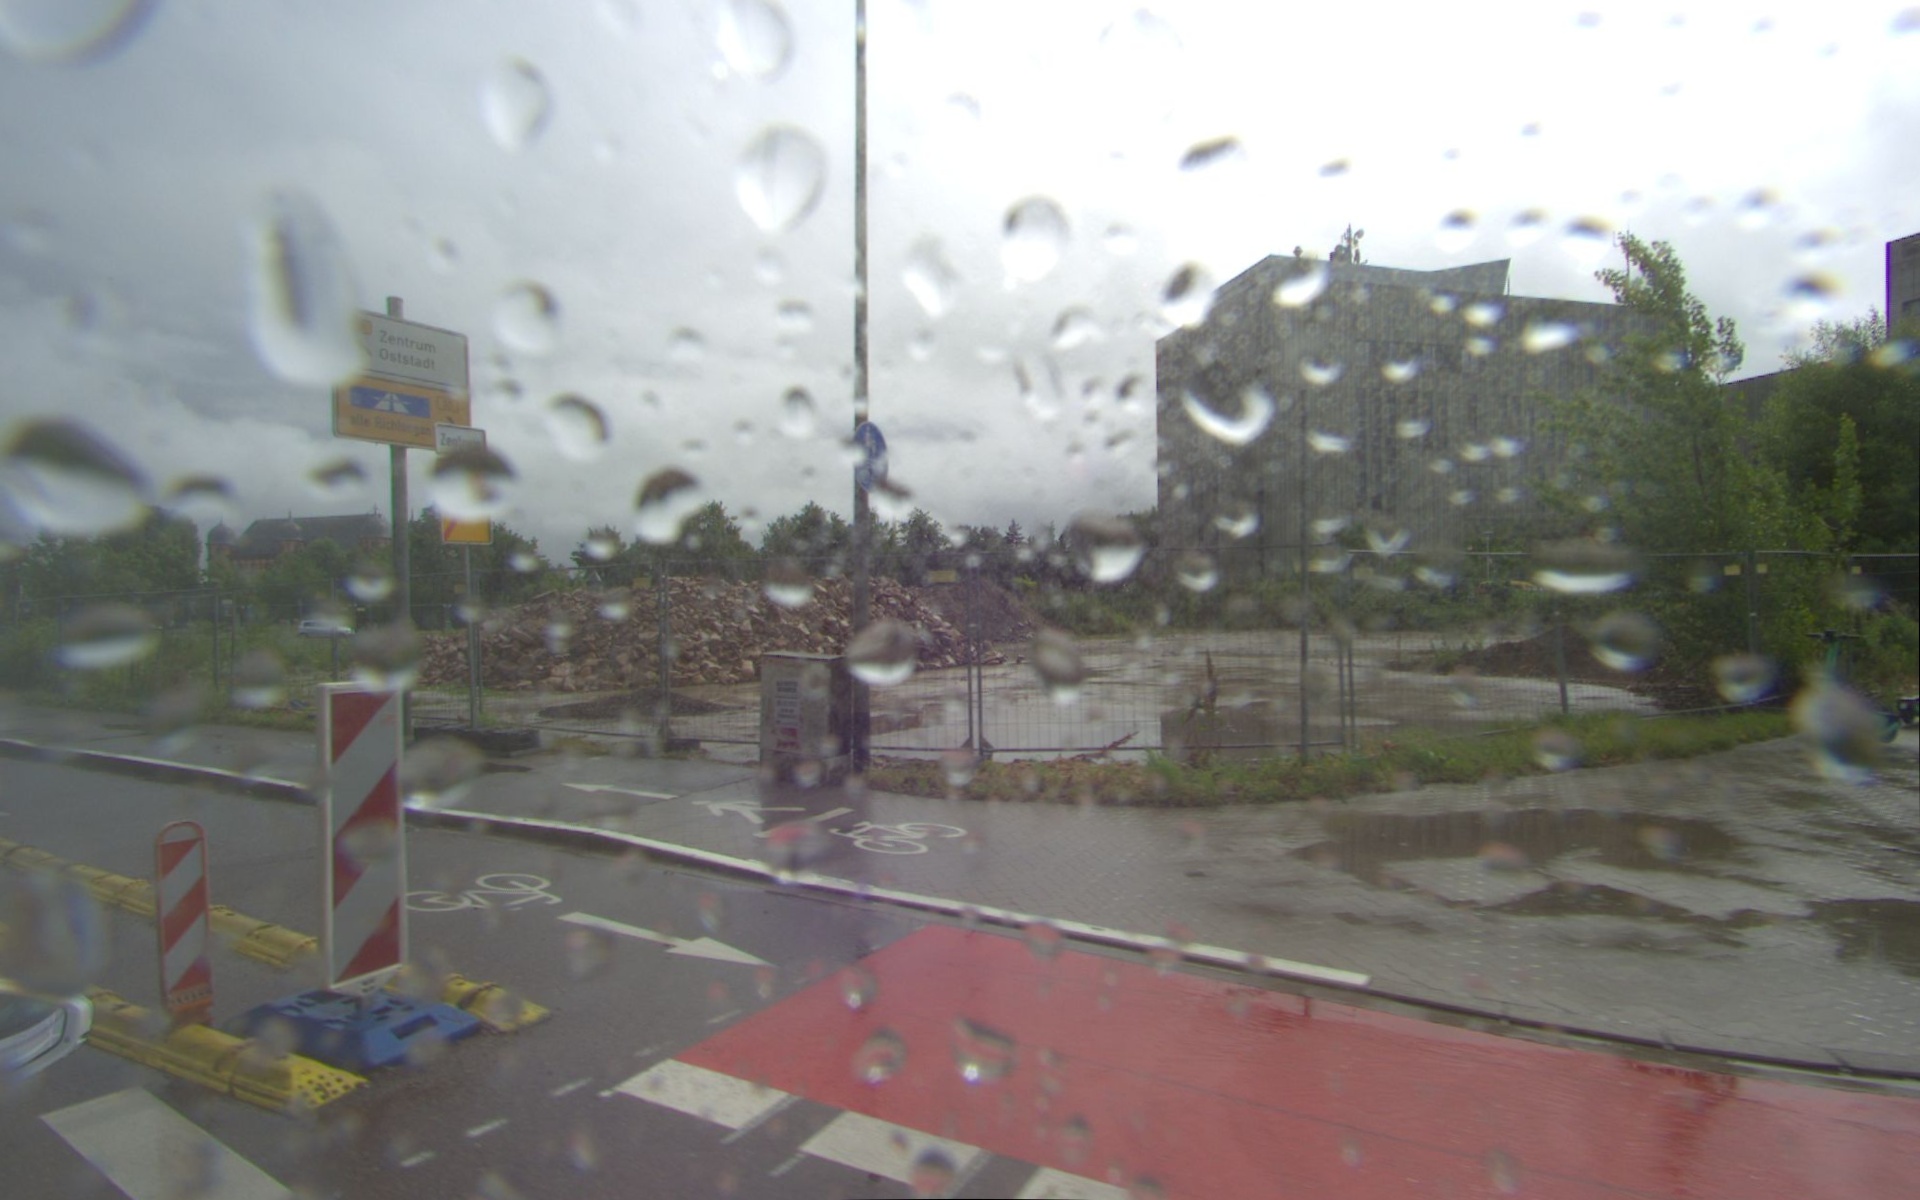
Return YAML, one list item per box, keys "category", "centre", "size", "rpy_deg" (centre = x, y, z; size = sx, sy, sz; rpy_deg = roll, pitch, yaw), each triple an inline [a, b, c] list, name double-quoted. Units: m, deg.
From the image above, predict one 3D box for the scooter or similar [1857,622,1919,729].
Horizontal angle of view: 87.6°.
- category: "scooter or similar"
  centre: [11.186, 0.858, 11.632]
  size: [1.176, 1.165, 0.744]
  rpy_deg: [-1, 0, -25]

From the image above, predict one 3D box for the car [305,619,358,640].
- category: "car"
  centre: [-51.351, 2.396, 81.845]
  size: [3.473, 1.567, 1.625]
  rpy_deg: [-1, 0, -25]

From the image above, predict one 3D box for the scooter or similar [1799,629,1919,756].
- category: "scooter or similar"
  centre: [8.931, 0.890, 9.927]
  size: [1.175, 1.165, 0.481]
  rpy_deg: [-1, 1, -25]
